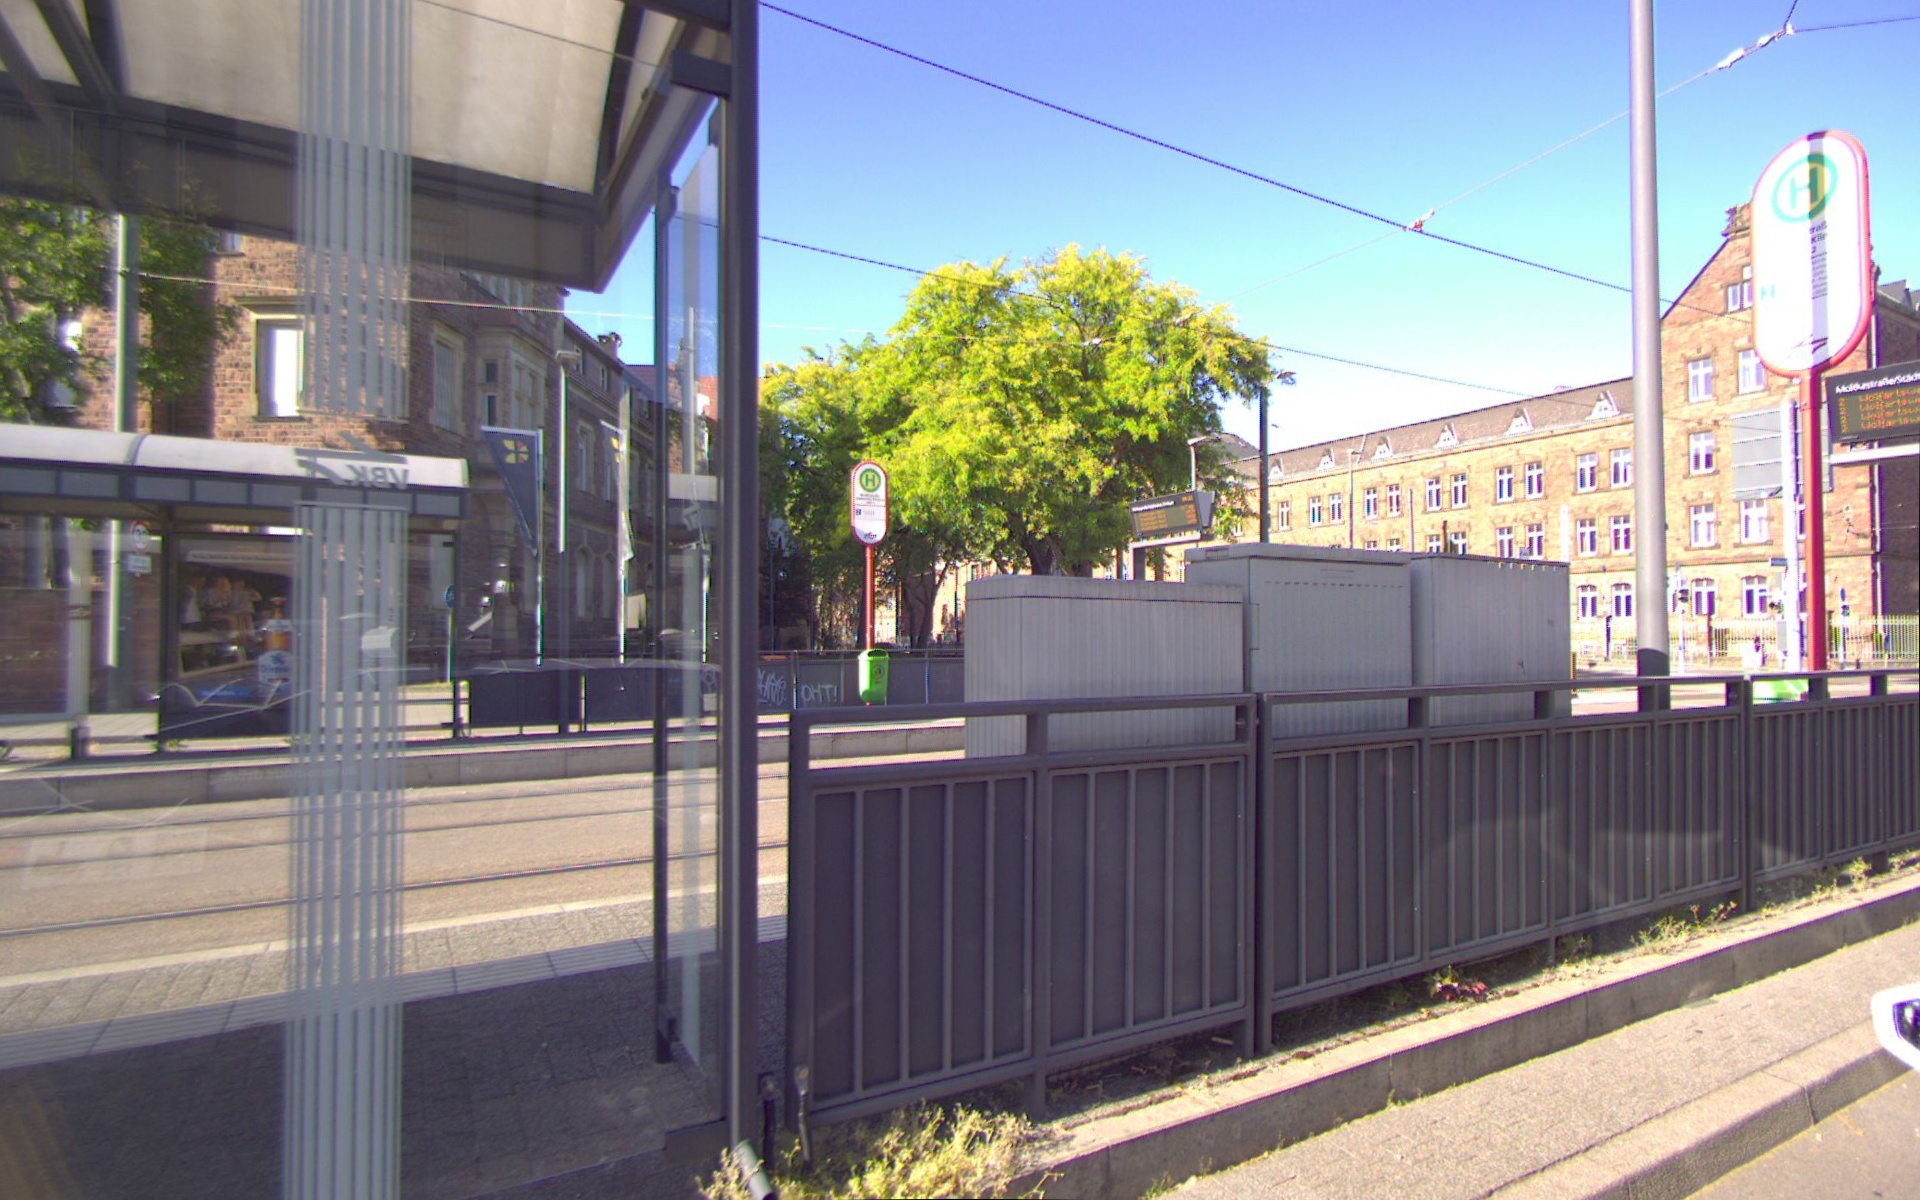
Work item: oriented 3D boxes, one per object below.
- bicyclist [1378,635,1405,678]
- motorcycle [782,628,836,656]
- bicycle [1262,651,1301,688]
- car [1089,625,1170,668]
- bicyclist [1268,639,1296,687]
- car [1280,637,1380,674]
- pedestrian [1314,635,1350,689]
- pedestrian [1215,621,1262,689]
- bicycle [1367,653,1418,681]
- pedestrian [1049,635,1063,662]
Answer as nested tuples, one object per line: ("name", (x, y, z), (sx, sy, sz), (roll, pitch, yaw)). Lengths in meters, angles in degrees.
("bicyclist", (16.754, 2.187, 38.990), (0.792, 1.657, 0.631), (1, -2, -29))
("motorcycle", (-10.308, 2.827, 68.603), (1.289, 1.852, 3.758), (-1, -2, 38))
("bicycle", (9.669, 2.077, 30.165), (0.682, 1.063, 1.664), (0, -2, 34))
("car", (10.310, 2.806, 61.483), (2.234, 2.485, 5.006), (1, -2, -30))
("bicyclist", (9.696, 1.881, 30.207), (0.679, 1.402, 0.532), (0, -2, 35))
("car", (16.565, 2.477, 45.164), (1.853, 1.542, 4.050), (1, -2, -27))
("pedestrian", (11.146, 1.847, 30.095), (0.816, 1.590, 0.574), (0, -1, -9))
("pedestrian", (7.834, 1.539, 28.269), (1.082, 1.885, 0.724), (1, -2, -27))
("bicycle", (16.758, 2.592, 38.965), (0.792, 1.027, 1.727), (1, -2, -29))
("pedestrian", (5.747, 2.925, 60.239), (0.533, 1.619, 0.712), (1, -2, -29))
